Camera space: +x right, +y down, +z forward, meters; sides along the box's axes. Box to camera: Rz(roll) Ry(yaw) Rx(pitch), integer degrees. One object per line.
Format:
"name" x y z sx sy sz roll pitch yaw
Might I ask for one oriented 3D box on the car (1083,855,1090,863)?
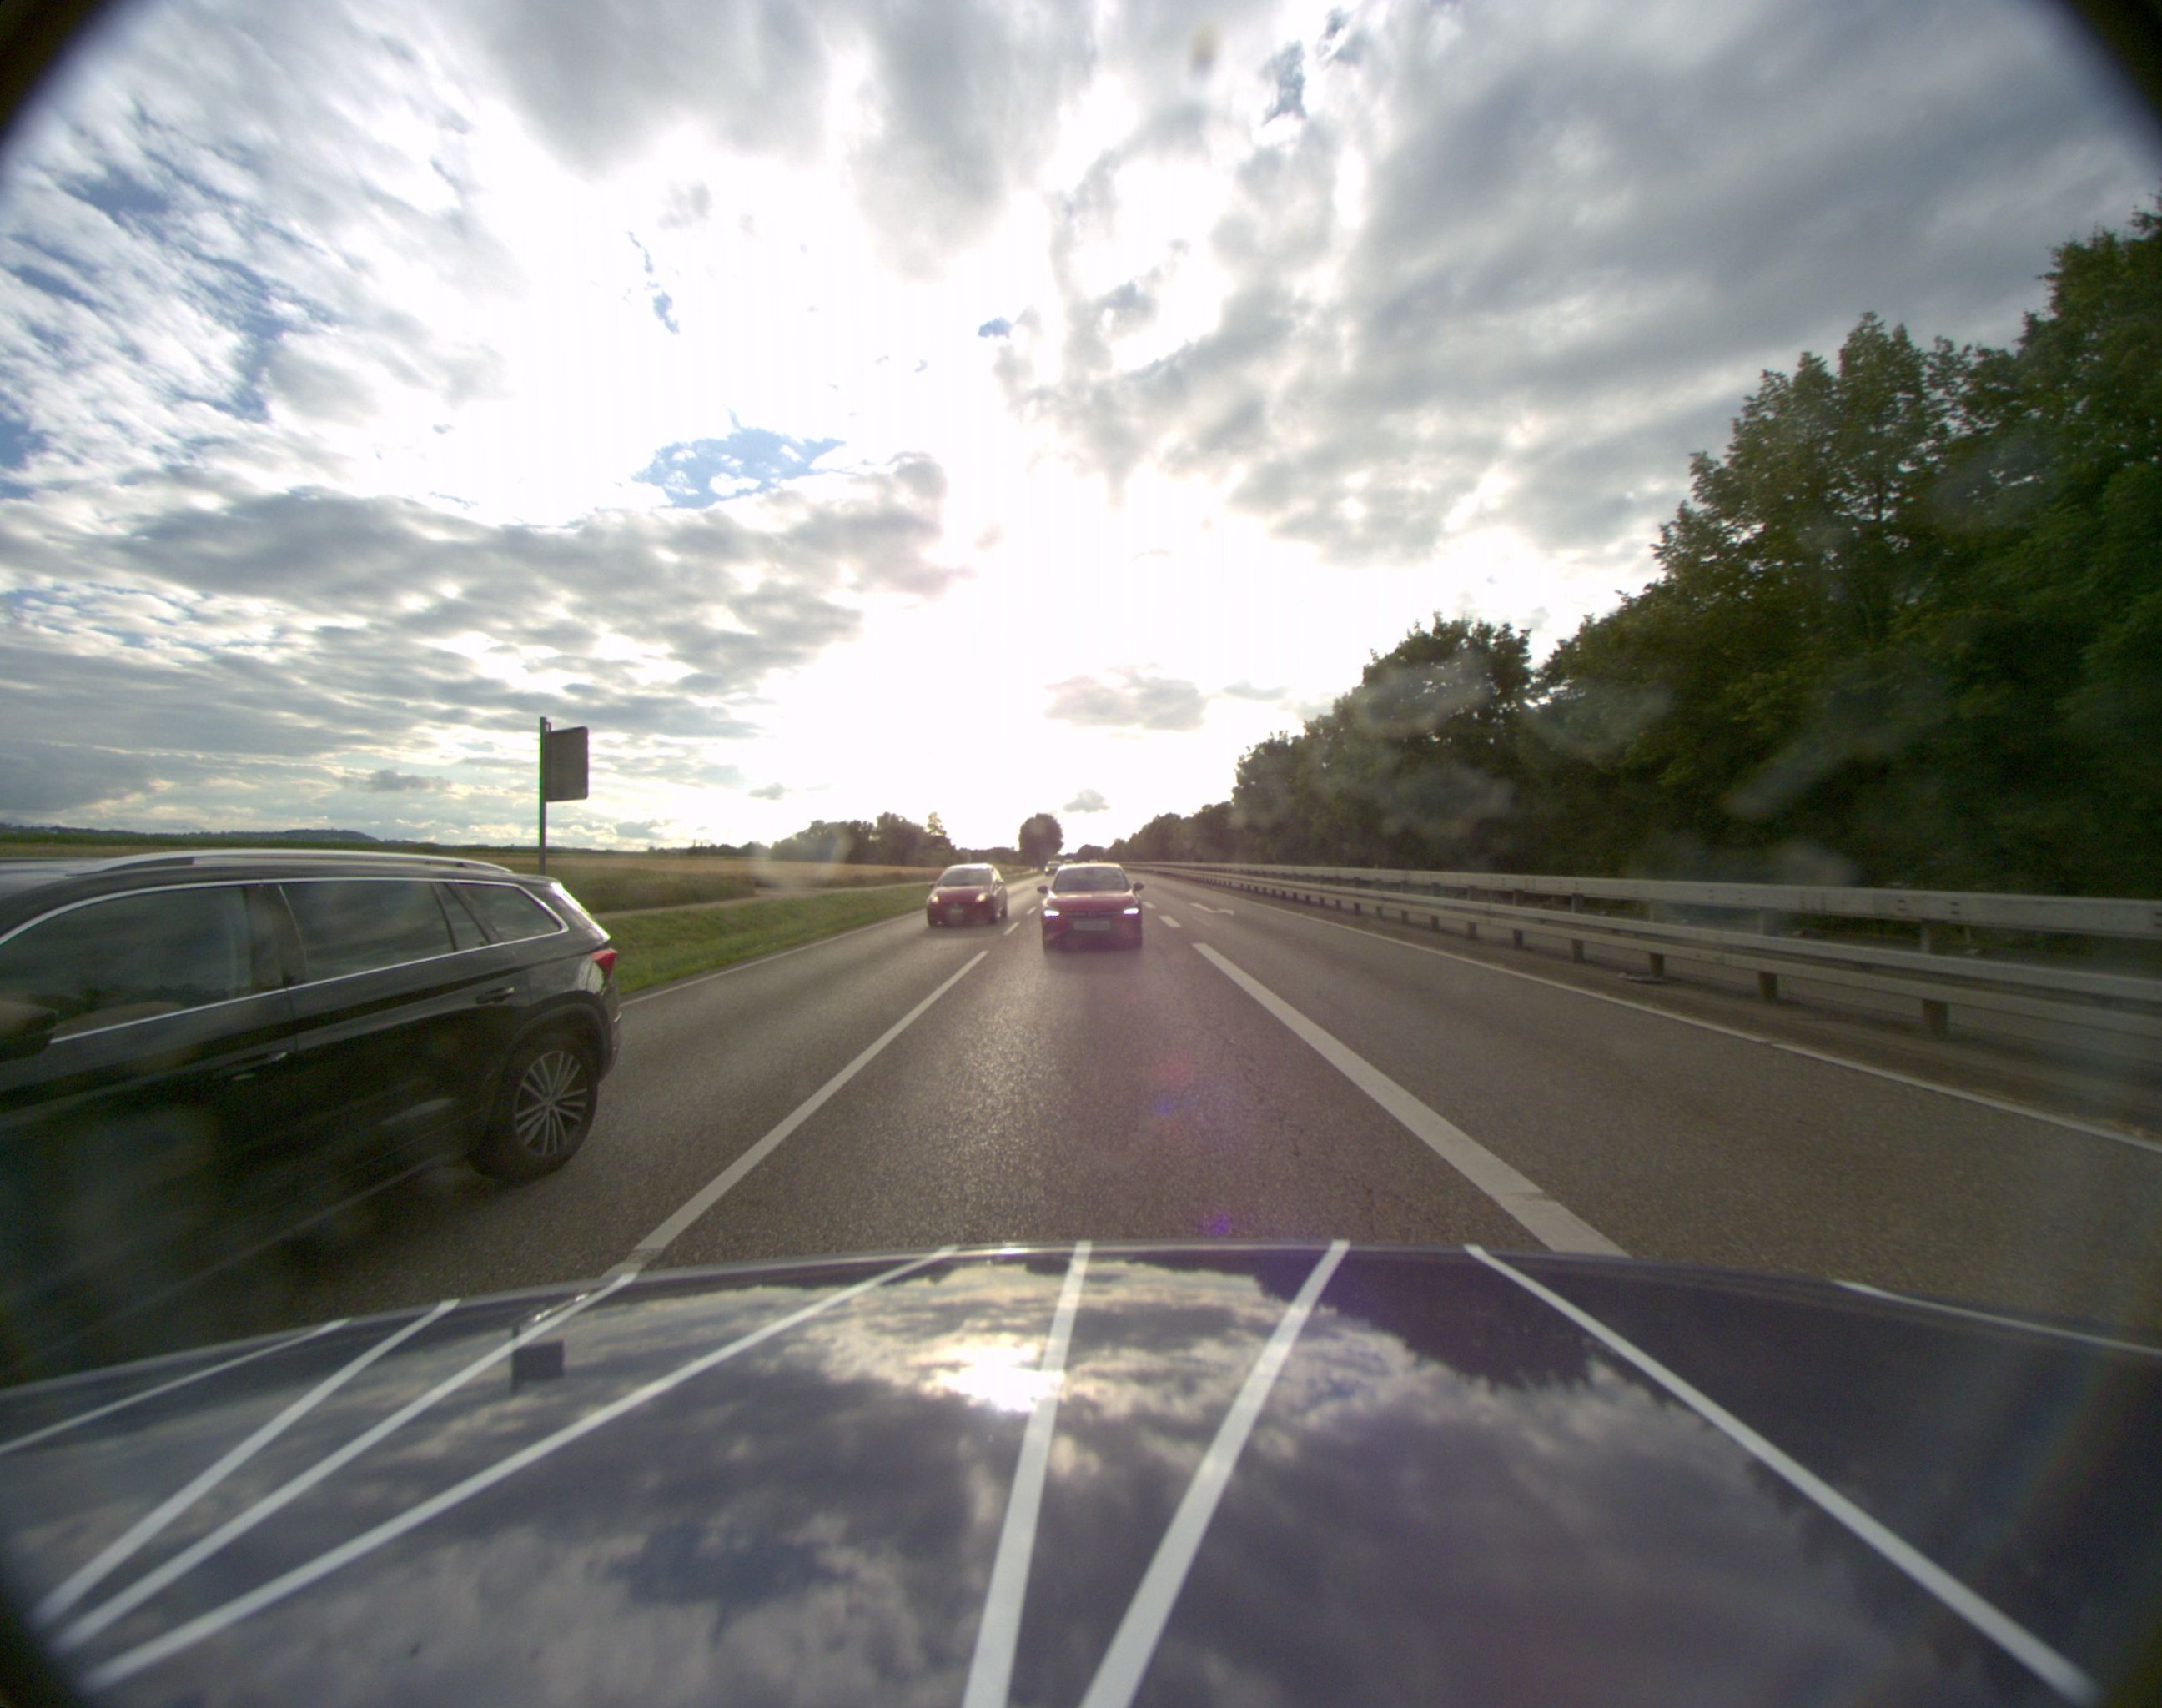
"car" 1.323 1.188 185.711 1.671 1.730 4.032 -2 0 1

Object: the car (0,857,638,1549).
"car" -3.665 0.932 2.308 1.841 1.698 4.556 -2 1 1

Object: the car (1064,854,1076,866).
"car" -1.805 0.982 125.926 1.671 1.730 4.032 -2 0 1

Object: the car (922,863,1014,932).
"car" -2.825 1.046 19.771 1.712 1.448 3.908 -2 1 1

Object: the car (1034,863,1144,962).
"car" 0.150 0.967 14.262 1.712 1.448 4.061 -2 1 1

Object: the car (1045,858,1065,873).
"car" -2.700 1.198 79.317 1.799 1.448 4.032 -2 0 1

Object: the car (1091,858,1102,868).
"car" 2.484 1.510 122.698 1.712 1.448 4.061 -2 1 1
